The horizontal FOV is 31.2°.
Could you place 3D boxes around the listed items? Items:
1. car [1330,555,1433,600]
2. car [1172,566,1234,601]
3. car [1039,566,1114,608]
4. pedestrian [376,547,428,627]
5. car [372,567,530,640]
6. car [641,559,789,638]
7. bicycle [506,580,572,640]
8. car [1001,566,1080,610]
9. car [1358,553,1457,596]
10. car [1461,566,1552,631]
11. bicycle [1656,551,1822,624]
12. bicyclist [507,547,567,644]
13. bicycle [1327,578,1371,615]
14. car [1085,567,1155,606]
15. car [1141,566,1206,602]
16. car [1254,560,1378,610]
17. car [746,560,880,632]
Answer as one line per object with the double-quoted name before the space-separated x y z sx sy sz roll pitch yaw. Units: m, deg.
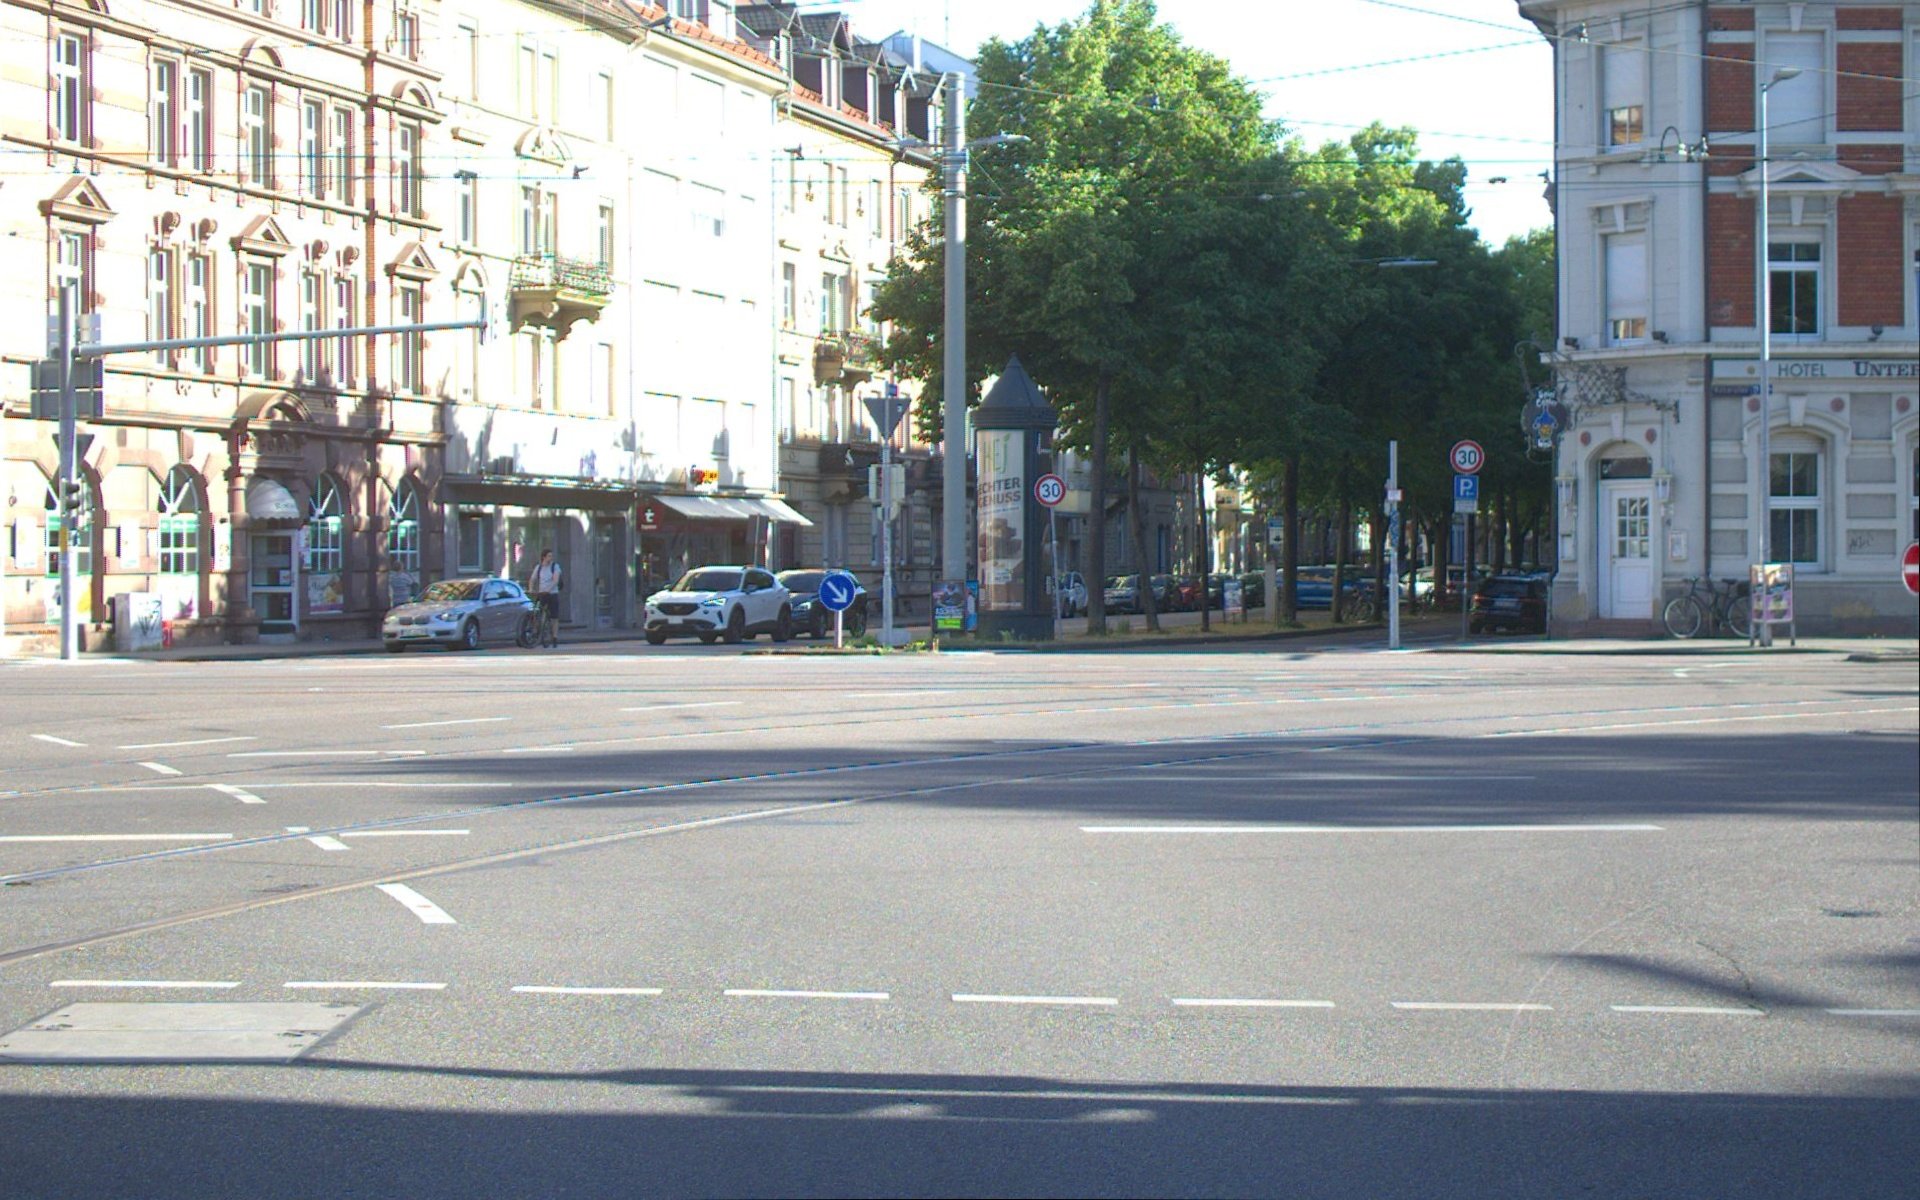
"car" 15.707 -0.846 128.034 3.582 1.642 1.681 0 1 17
"car" 9.605 -0.654 135.778 1.678 1.349 3.588 0 1 16
"car" 3.929 -0.445 115.479 1.678 1.349 3.588 0 1 16
"pedestrian" -11.759 -0.284 72.431 0.776 1.664 0.830 1 0 15
"car" -9.871 0.053 66.908 1.678 1.349 3.588 0 1 16
"car" -4.760 -0.054 67.312 1.678 1.478 3.768 0 1 16
"bicycle" -7.977 0.182 65.263 0.702 1.114 1.634 1 1 13
"car" 2.632 -0.402 111.322 1.678 1.349 3.588 0 1 16
"car" 17.381 -1.001 133.508 3.582 1.642 1.681 0 1 17
"car" 13.149 -0.058 82.575 1.678 1.478 3.945 0 1 16
"bicycle" 12.972 -0.208 57.276 2.554 1.170 0.819 1 0 -3
"bicyclist" -8.013 -0.091 65.137 0.779 1.797 1.055 1 0 14
"bicycle" 11.259 -0.104 99.484 0.636 1.018 1.847 1 1 -14
"car" 5.699 -0.484 122.441 1.678 1.349 3.588 0 1 16
"car" 8.134 -0.615 130.748 1.678 1.349 3.588 0 1 16
"car" 11.987 -0.510 115.679 3.905 1.642 1.681 0 1 17
"car" -3.119 -0.104 73.614 1.678 1.478 3.945 0 1 16
